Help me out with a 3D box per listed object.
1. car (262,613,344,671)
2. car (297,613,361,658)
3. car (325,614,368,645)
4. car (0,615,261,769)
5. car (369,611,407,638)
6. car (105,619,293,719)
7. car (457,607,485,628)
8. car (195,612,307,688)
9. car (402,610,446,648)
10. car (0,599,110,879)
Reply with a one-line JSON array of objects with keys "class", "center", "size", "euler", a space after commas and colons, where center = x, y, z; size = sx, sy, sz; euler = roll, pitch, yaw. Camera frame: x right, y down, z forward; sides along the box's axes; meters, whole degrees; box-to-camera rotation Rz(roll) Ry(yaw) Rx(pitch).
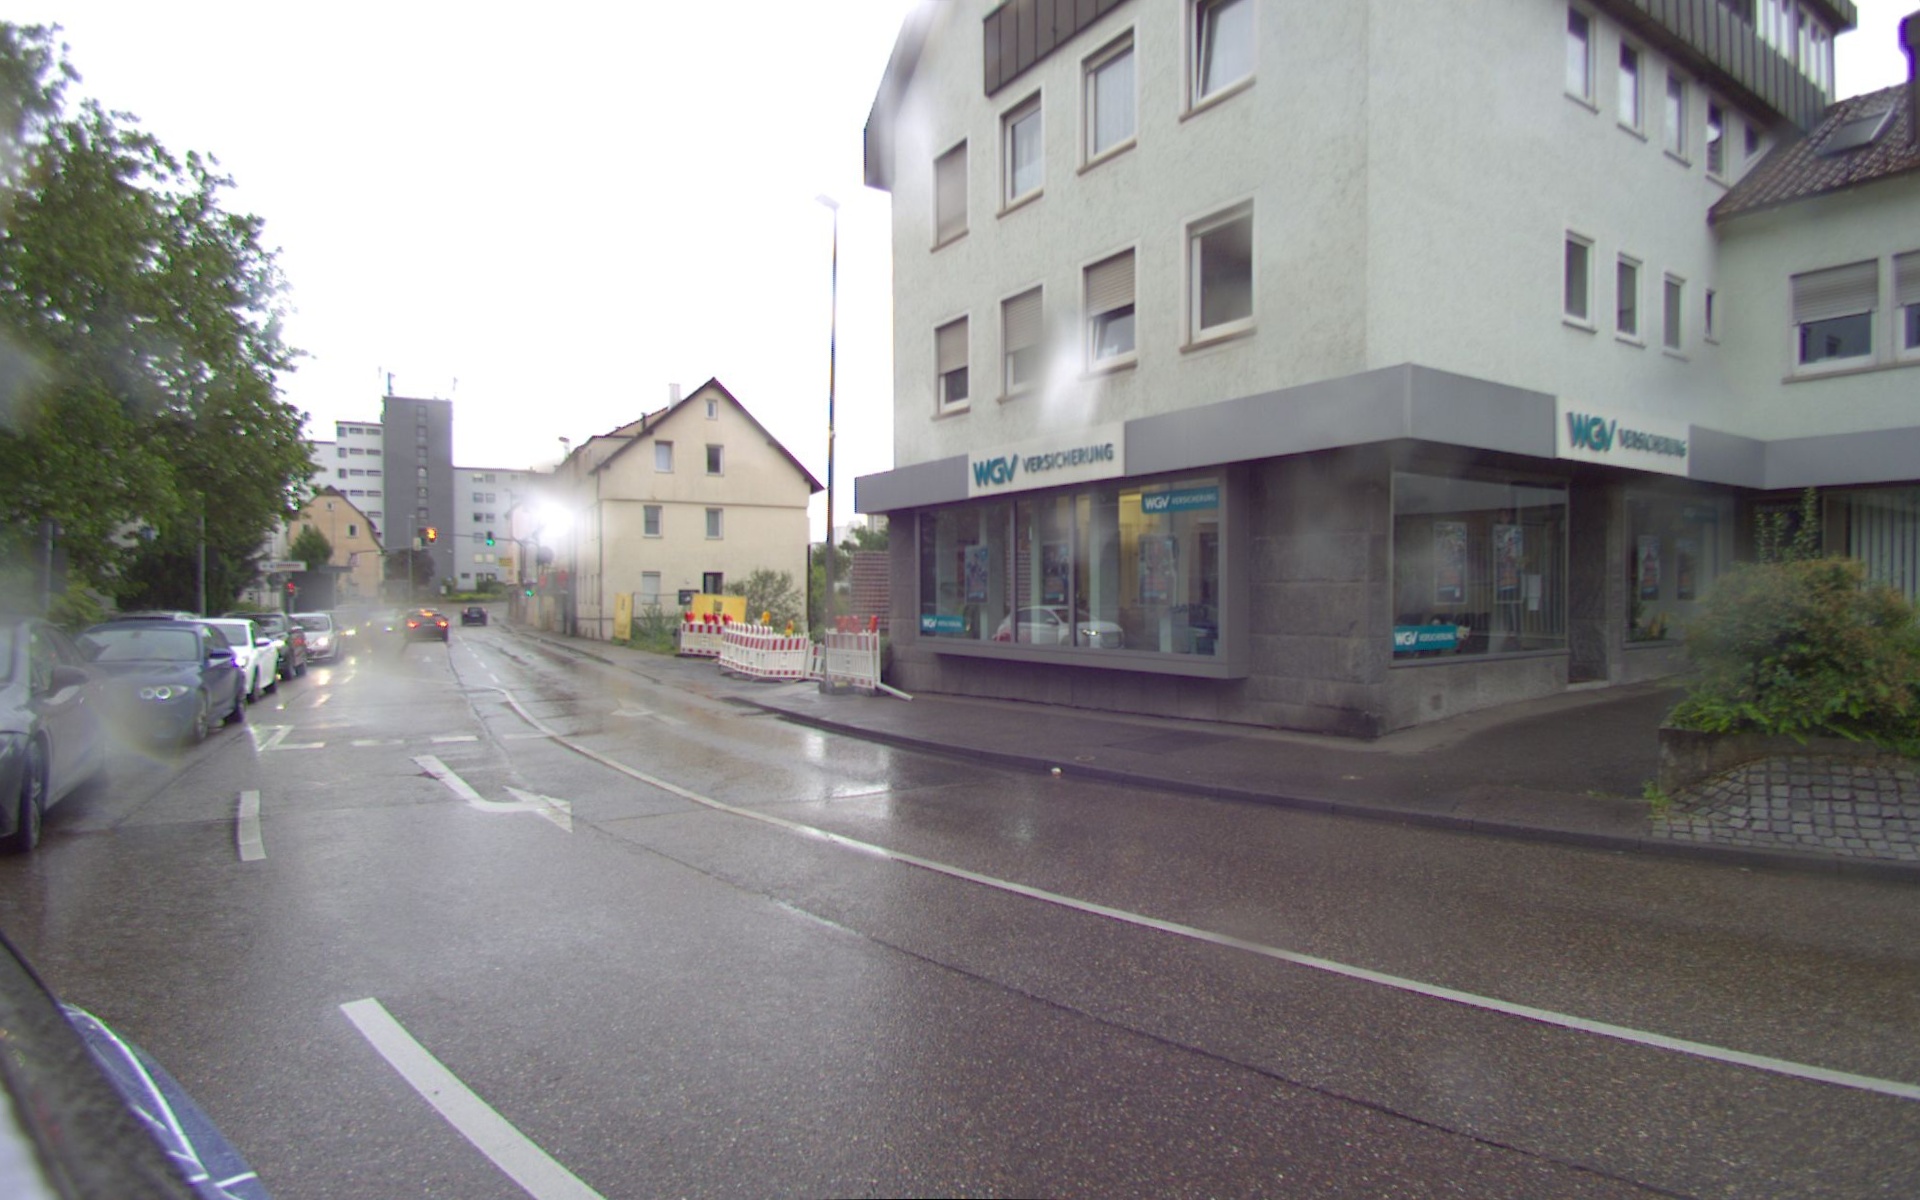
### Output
[{"class": "car", "center": [-20.168, 1.242, 31.206], "size": [1.814, 1.633, 4.013], "euler": [-1, 0, -29]}, {"class": "car", "center": [-24.301, 1.350, 39.084], "size": [1.802, 1.563, 4.012], "euler": [-2, 0, -29]}, {"class": "car", "center": [-31.660, 1.493, 52.295], "size": [1.823, 1.489, 4.012], "euler": [-1, 0, -31]}, {"class": "car", "center": [-10.154, 0.975, 12.704], "size": [1.744, 1.544, 4.392], "euler": [-1, 0, -28]}, {"class": "car", "center": [-36.908, 1.578, 65.243], "size": [1.966, 1.564, 4.011], "euler": [0, -4, -32]}, {"class": "car", "center": [-13.432, 1.120, 18.132], "size": [1.965, 1.464, 4.013], "euler": [-2, 0, -26]}, {"class": "car", "center": [-37.569, 1.330, 77.735], "size": [1.783, 1.577, 4.013], "euler": [1, -1, -28]}, {"class": "car", "center": [-16.719, 1.106, 24.037], "size": [1.783, 1.577, 4.012], "euler": [-2, 0, -30]}, {"class": "car", "center": [-26.412, 1.395, 49.885], "size": [1.783, 1.577, 4.013], "euler": [-2, 2, -28]}, {"class": "car", "center": [-7.132, 0.791, 6.685], "size": [1.967, 1.504, 4.324], "euler": [-1, 0, -36]}]
